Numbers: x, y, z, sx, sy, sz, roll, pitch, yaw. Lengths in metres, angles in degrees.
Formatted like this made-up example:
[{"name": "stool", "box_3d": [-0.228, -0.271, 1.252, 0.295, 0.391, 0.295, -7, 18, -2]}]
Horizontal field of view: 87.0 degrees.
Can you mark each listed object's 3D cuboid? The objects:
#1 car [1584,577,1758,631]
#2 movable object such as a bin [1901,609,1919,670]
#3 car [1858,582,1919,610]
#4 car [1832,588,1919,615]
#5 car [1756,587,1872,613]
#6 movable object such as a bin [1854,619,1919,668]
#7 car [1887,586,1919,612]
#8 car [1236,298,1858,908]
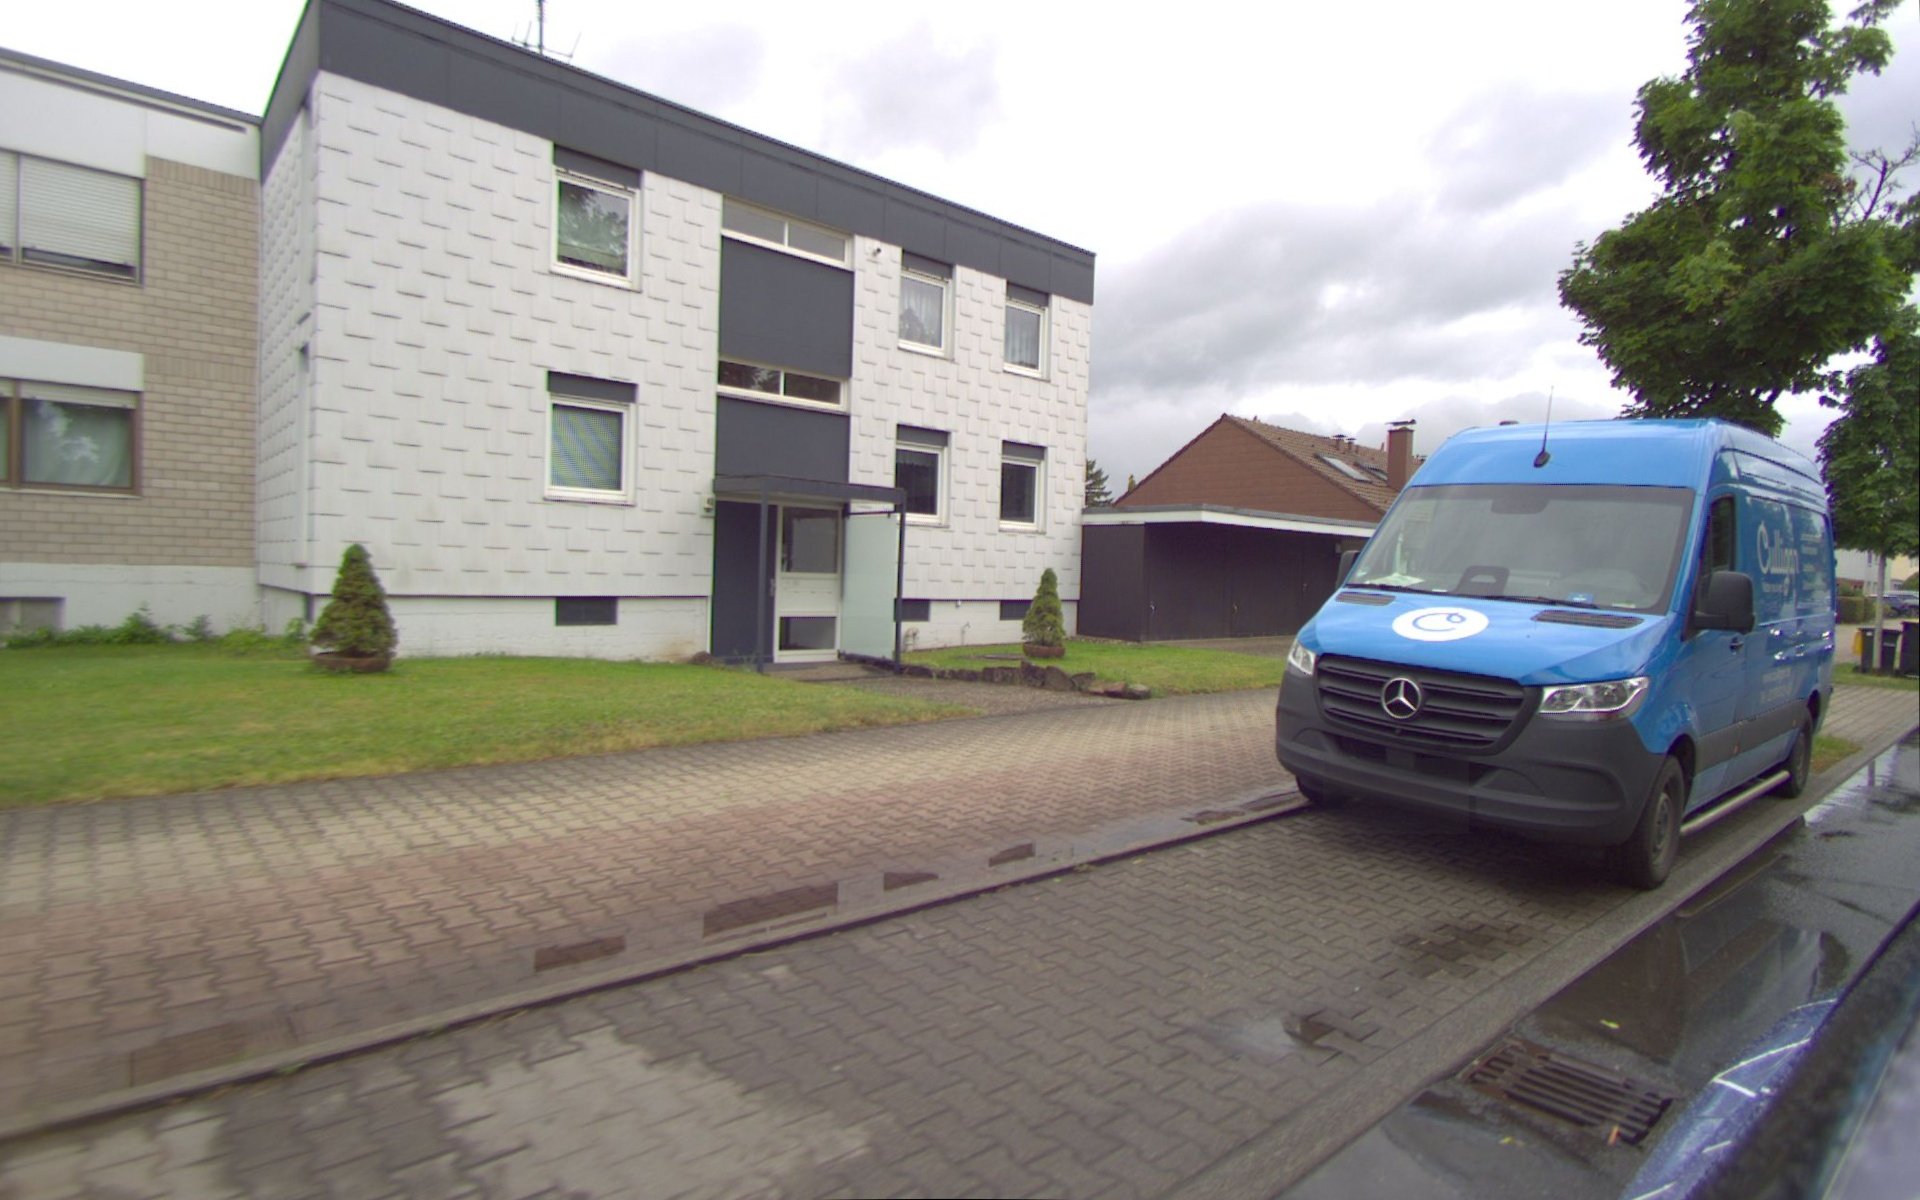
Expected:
[{"name": "car", "box_3d": [21.562, 0.056, 30.801, 1.815, 1.460, 3.995, -1, 3, -40]}, {"name": "movable object such as a bin", "box_3d": [16.706, 0.702, 17.297, 0.550, 1.026, 0.618, 1, 5, -16]}, {"name": "car", "box_3d": [60.019, -0.258, 64.486, 4.176, 1.693, 1.696, -1, 0, 42]}, {"name": "car", "box_3d": [54.764, 0.099, 60.356, 1.647, 1.406, 3.987, 4, -5, -45]}, {"name": "car", "box_3d": [42.496, -0.023, 50.488, 4.290, 1.276, 1.658, 0, 0, 36]}, {"name": "movable object such as a bin", "box_3d": [16.808, 0.784, 18.330, 0.588, 0.810, 0.663, 1, 4, -16]}, {"name": "car", "box_3d": [64.473, -0.042, 67.120, 1.957, 1.692, 4.188, -1, 2, -40]}, {"name": "car", "box_3d": [4.361, -0.041, 6.951, 5.537, 2.618, 1.997, 0, 3, -42]}]
